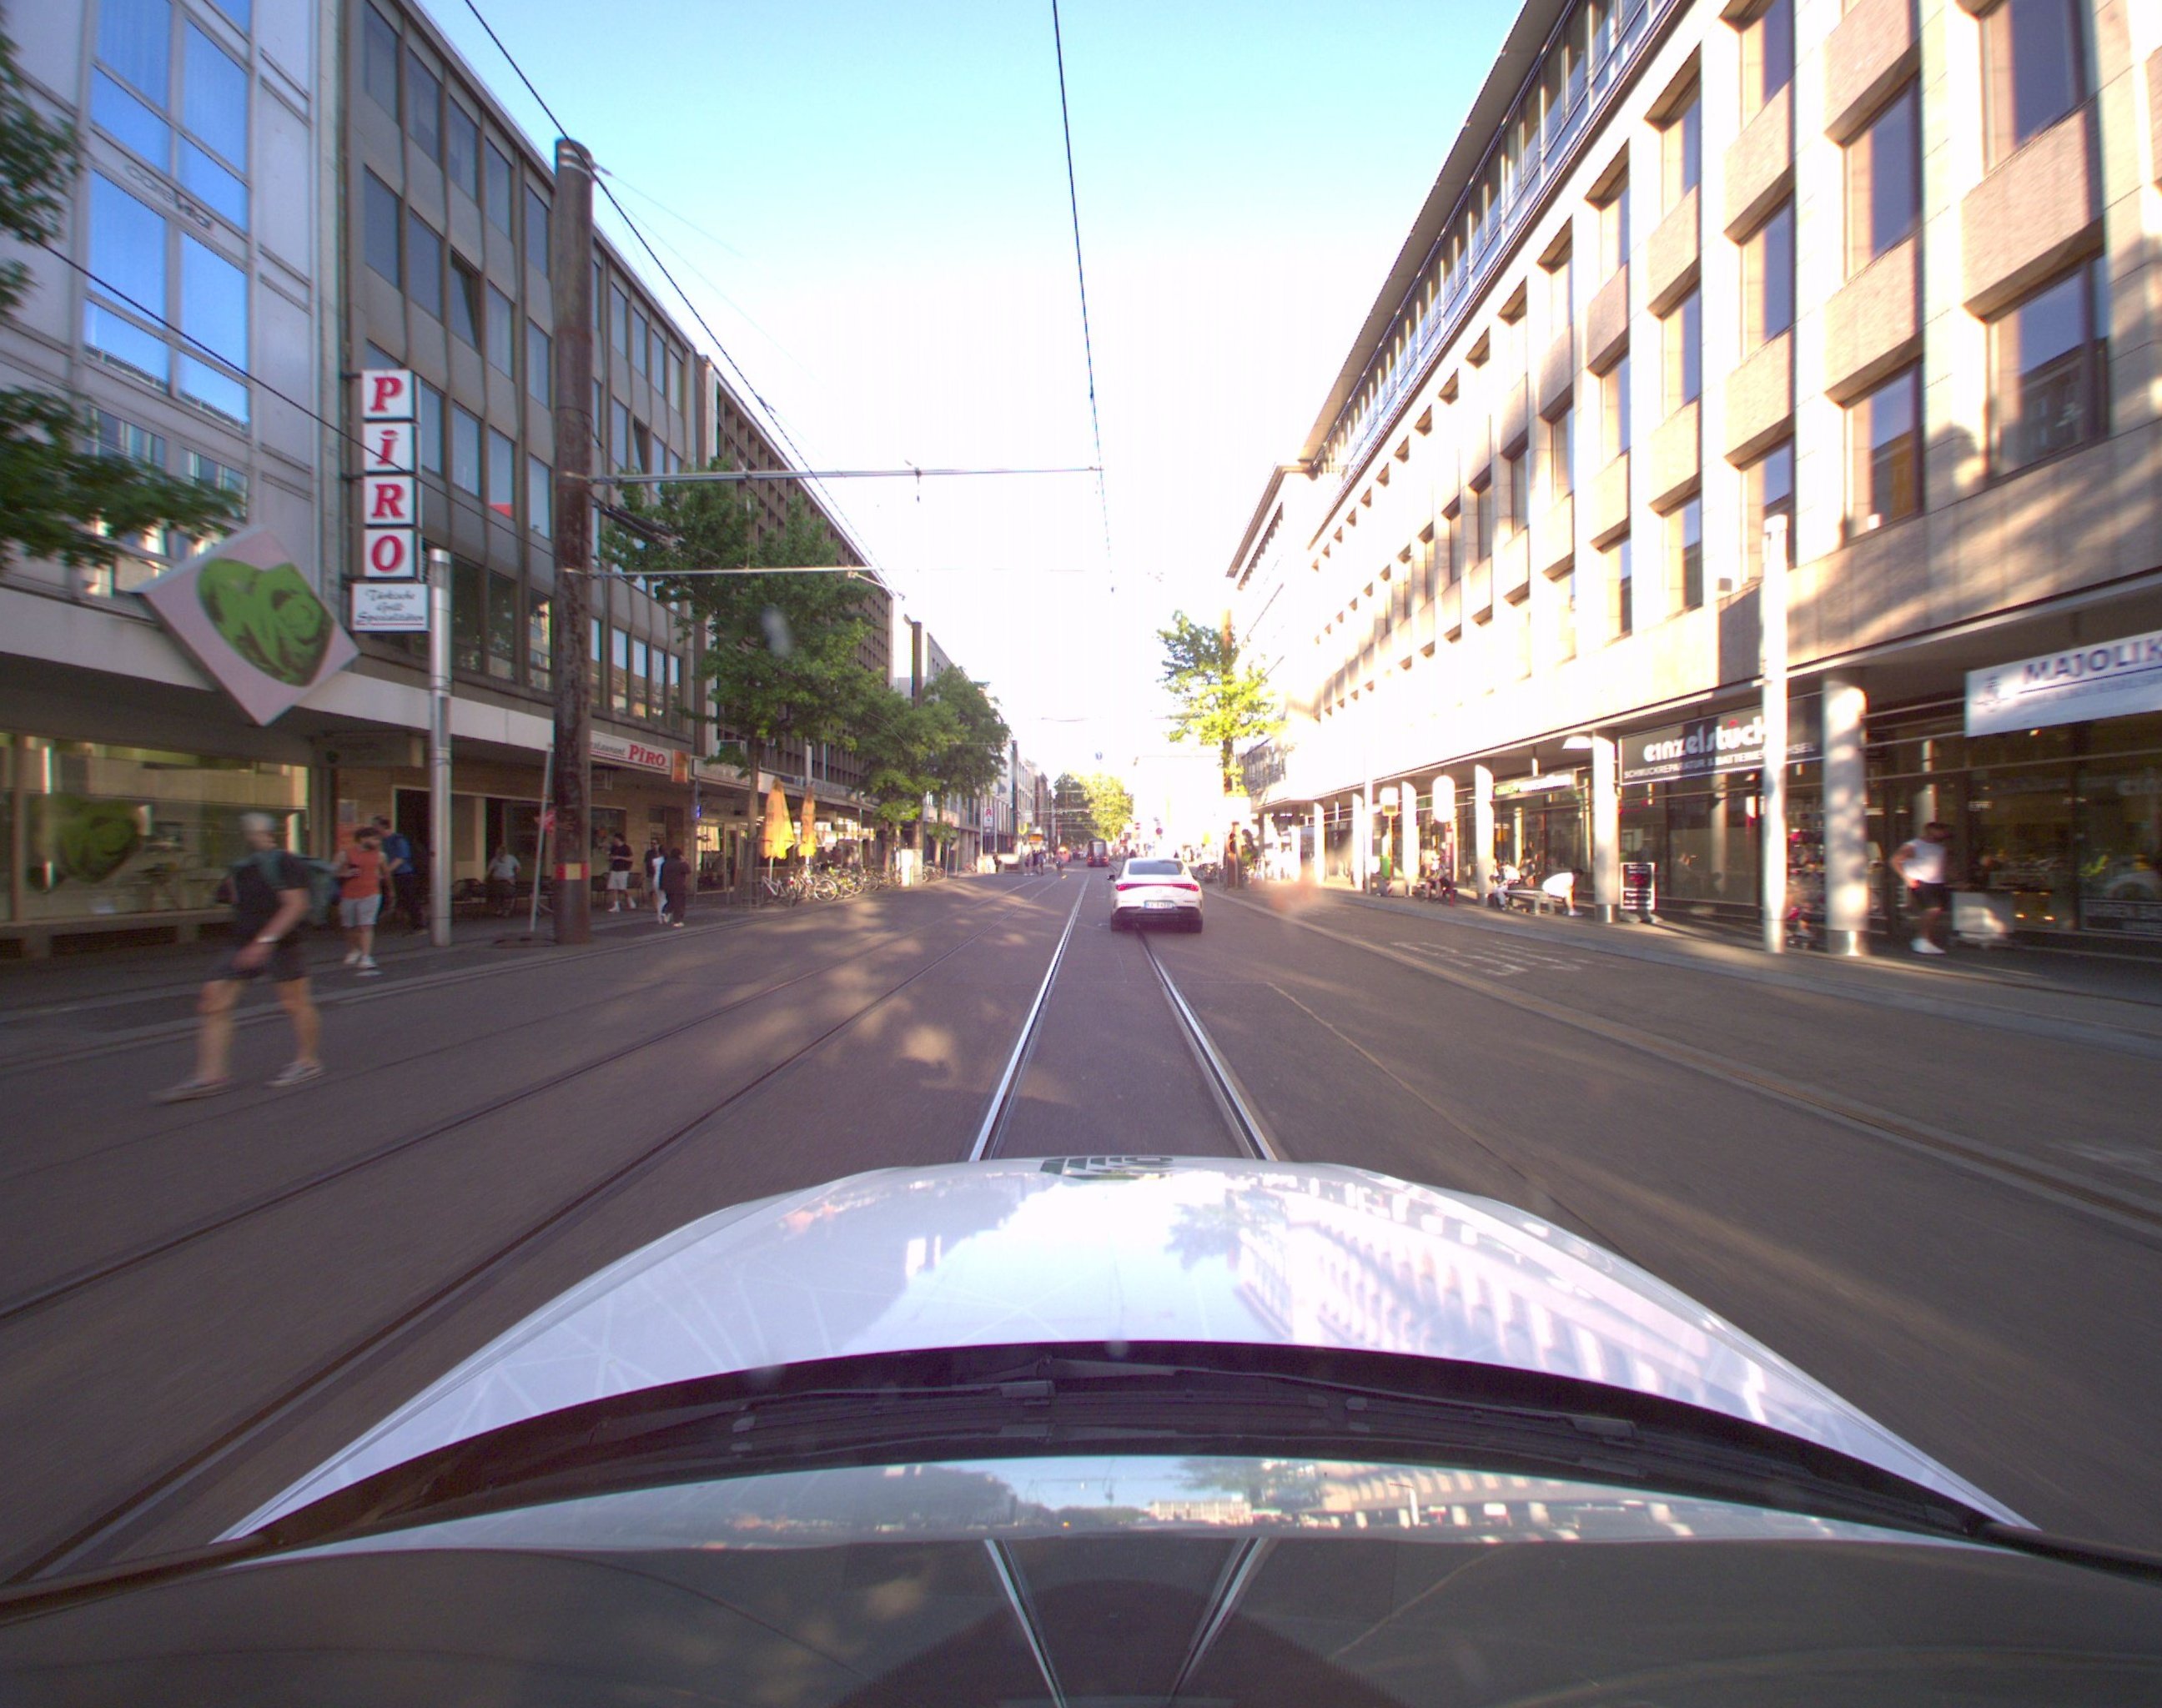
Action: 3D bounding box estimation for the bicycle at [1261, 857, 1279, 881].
[{"bbox_3d":[9.570,0.758,41.322,0.562,1.127,1.932,-2,0,4],"label":"bicycle"}]

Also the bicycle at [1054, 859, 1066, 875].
[{"bbox_3d":[-1.571,0.928,60.572,0.797,1.142,2.257,1,0,0],"label":"bicycle"}]

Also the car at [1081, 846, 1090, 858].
[{"bbox_3d":[1.083,-0.534,204.458,2.091,2.897,5.276,-1,0,2],"label":"car"}]

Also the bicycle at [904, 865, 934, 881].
[{"bbox_3d":[-8.394,1.000,42.214,1.487,0.783,0.345,1,0,2],"label":"bicycle"}]

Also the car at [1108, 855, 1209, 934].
[{"bbox_3d":[1.522,0.756,17.265,1.850,1.455,4.176,0,0,1],"label":"car"}]

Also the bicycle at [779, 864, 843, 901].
[{"bbox_3d":[-8.259,0.869,24.926,1.785,1.077,0.377,1,0,-4],"label":"bicycle"}]

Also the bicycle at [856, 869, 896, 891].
[{"bbox_3d":[-8.130,1.020,32.262,1.487,0.841,0.345,1,0,2],"label":"bicycle"}]

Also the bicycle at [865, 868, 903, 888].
[{"bbox_3d":[-8.137,0.981,33.644,1.487,0.783,0.345,1,0,2],"label":"bicycle"}]

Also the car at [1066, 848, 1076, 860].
[{"bbox_3d":[-2.015,-0.066,172.433,1.903,2.461,5.276,-1,0,2],"label":"car"}]

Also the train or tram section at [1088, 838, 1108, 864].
[{"bbox_3d":[2.414,-0.377,115.684,2.685,3.516,12.548,-1,0,1],"label":"train or tram section"}]

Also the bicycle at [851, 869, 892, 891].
[{"bbox_3d":[-8.192,1.008,31.893,1.487,0.841,0.345,1,0,2],"label":"bicycle"}]

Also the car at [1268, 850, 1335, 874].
[{"bbox_3d":[13.963,0.482,51.622,3.794,1.473,1.647,-1,0,-4],"label":"car"}]

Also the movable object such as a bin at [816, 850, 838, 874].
[{"bbox_3d":[-11.285,0.350,36.237,0.713,1.039,0.980,-1,0,-5],"label":"movable object such as a bin"}]

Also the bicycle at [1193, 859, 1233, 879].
[{"bbox_3d":[7.374,0.835,45.496,2.114,1.096,0.607,0,-1,-11],"label":"bicycle"}]

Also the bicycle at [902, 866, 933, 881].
[{"bbox_3d":[-8.411,1.001,41.854,1.487,0.783,0.345,1,0,2],"label":"bicycle"}]

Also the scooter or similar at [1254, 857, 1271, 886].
[{"bbox_3d":[8.240,0.774,37.018,0.491,1.277,0.658,-2,0,-10],"label":"scooter or similar"}]

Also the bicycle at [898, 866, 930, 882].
[{"bbox_3d":[-8.435,0.993,41.140,1.487,0.783,0.345,1,0,2],"label":"bicycle"}]

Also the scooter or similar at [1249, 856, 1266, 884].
[{"bbox_3d":[8.170,0.729,37.668,0.527,1.277,0.658,-2,0,-10],"label":"scooter or similar"}]

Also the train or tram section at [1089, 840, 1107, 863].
[{"bbox_3d":[2.677,-0.394,127.525,2.685,3.516,11.145,-1,0,1],"label":"train or tram section"}]

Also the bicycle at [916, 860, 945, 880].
[{"bbox_3d":[-8.187,0.866,44.342,1.492,1.029,0.343,1,0,-9],"label":"bicycle"}]

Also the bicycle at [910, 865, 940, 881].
[{"bbox_3d":[-8.223,1.000,42.945,1.487,0.783,0.345,1,0,2],"label":"bicycle"}]

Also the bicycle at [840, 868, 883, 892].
[{"bbox_3d":[-8.226,0.981,30.580,1.490,0.876,0.344,1,0,-5],"label":"bicycle"}]

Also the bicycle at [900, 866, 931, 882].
[{"bbox_3d":[-8.424,1.000,41.495,1.487,0.783,0.345,1,0,2],"label":"bicycle"}]

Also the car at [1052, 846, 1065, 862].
[{"bbox_3d":[-4.202,0.006,153.583,1.986,2.897,5.276,-1,0,2],"label":"car"}]

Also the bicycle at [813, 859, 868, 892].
[{"bbox_3d":[-8.610,0.777,29.209,1.839,1.141,0.377,1,0,2],"label":"bicycle"}]

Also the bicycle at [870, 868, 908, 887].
[{"bbox_3d":[-8.066,0.985,34.260,1.487,0.783,0.345,1,0,2],"label":"bicycle"}]

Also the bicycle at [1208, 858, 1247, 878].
[{"bbox_3d":[8.446,0.800,47.017,2.114,1.096,0.607,-1,0,-11],"label":"bicycle"}]

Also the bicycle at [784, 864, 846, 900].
[{"bbox_3d":[-8.279,0.872,25.381,1.785,1.077,0.377,1,0,-4],"label":"bicycle"}]

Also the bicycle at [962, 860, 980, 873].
[{"bbox_3d":[-8.853,1.012,65.549,0.713,1.010,2.047,-1,0,15],"label":"bicycle"}]

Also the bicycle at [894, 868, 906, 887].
[{"bbox_3d":[-7.822,1.011,35.227,0.343,0.783,1.402,1,0,-6],"label":"bicycle"}]

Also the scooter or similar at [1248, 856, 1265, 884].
[{"bbox_3d":[8.217,0.729,38.205,0.527,1.277,0.658,-2,0,-10],"label":"scooter or similar"}]

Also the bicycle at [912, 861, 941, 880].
[{"bbox_3d":[-8.330,0.871,43.905,1.492,1.009,0.343,1,0,-9],"label":"bicycle"}]

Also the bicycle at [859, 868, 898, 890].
[{"bbox_3d":[-8.171,1.007,32.892,1.487,0.841,0.345,1,0,2],"label":"bicycle"}]

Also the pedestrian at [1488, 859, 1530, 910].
[{"bbox_3d":[10.229,0.711,19.484,0.663,1.198,0.786,0,0,6],"label":"pedestrian"}]

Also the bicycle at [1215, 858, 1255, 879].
[{"bbox_3d":[8.468,0.797,44.817,2.115,1.096,0.607,-1,0,-12],"label":"bicycle"}]

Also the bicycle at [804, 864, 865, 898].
[{"bbox_3d":[-8.047,0.878,26.628,1.842,1.077,0.377,1,0,-4],"label":"bicycle"}]

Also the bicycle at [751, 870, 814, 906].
[{"bbox_3d":[-8.113,0.926,22.157,1.587,0.930,0.378,1,0,7],"label":"bicycle"}]

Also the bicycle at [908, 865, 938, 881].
[{"bbox_3d":[-8.263,1.006,42.576,1.487,0.783,0.345,1,0,2],"label":"bicycle"}]

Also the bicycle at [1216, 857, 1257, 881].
[{"bbox_3d":[7.953,0.764,41.637,1.908,1.156,0.607,-2,0,-11],"label":"bicycle"}]

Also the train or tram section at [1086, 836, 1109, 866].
[{"bbox_3d":[2.129,-0.353,103.131,2.685,3.516,12.548,-1,0,1],"label":"train or tram section"}]

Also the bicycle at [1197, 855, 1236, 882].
[{"bbox_3d":[7.069,0.750,42.514,1.908,1.281,0.607,-2,0,-11],"label":"bicycle"}]
